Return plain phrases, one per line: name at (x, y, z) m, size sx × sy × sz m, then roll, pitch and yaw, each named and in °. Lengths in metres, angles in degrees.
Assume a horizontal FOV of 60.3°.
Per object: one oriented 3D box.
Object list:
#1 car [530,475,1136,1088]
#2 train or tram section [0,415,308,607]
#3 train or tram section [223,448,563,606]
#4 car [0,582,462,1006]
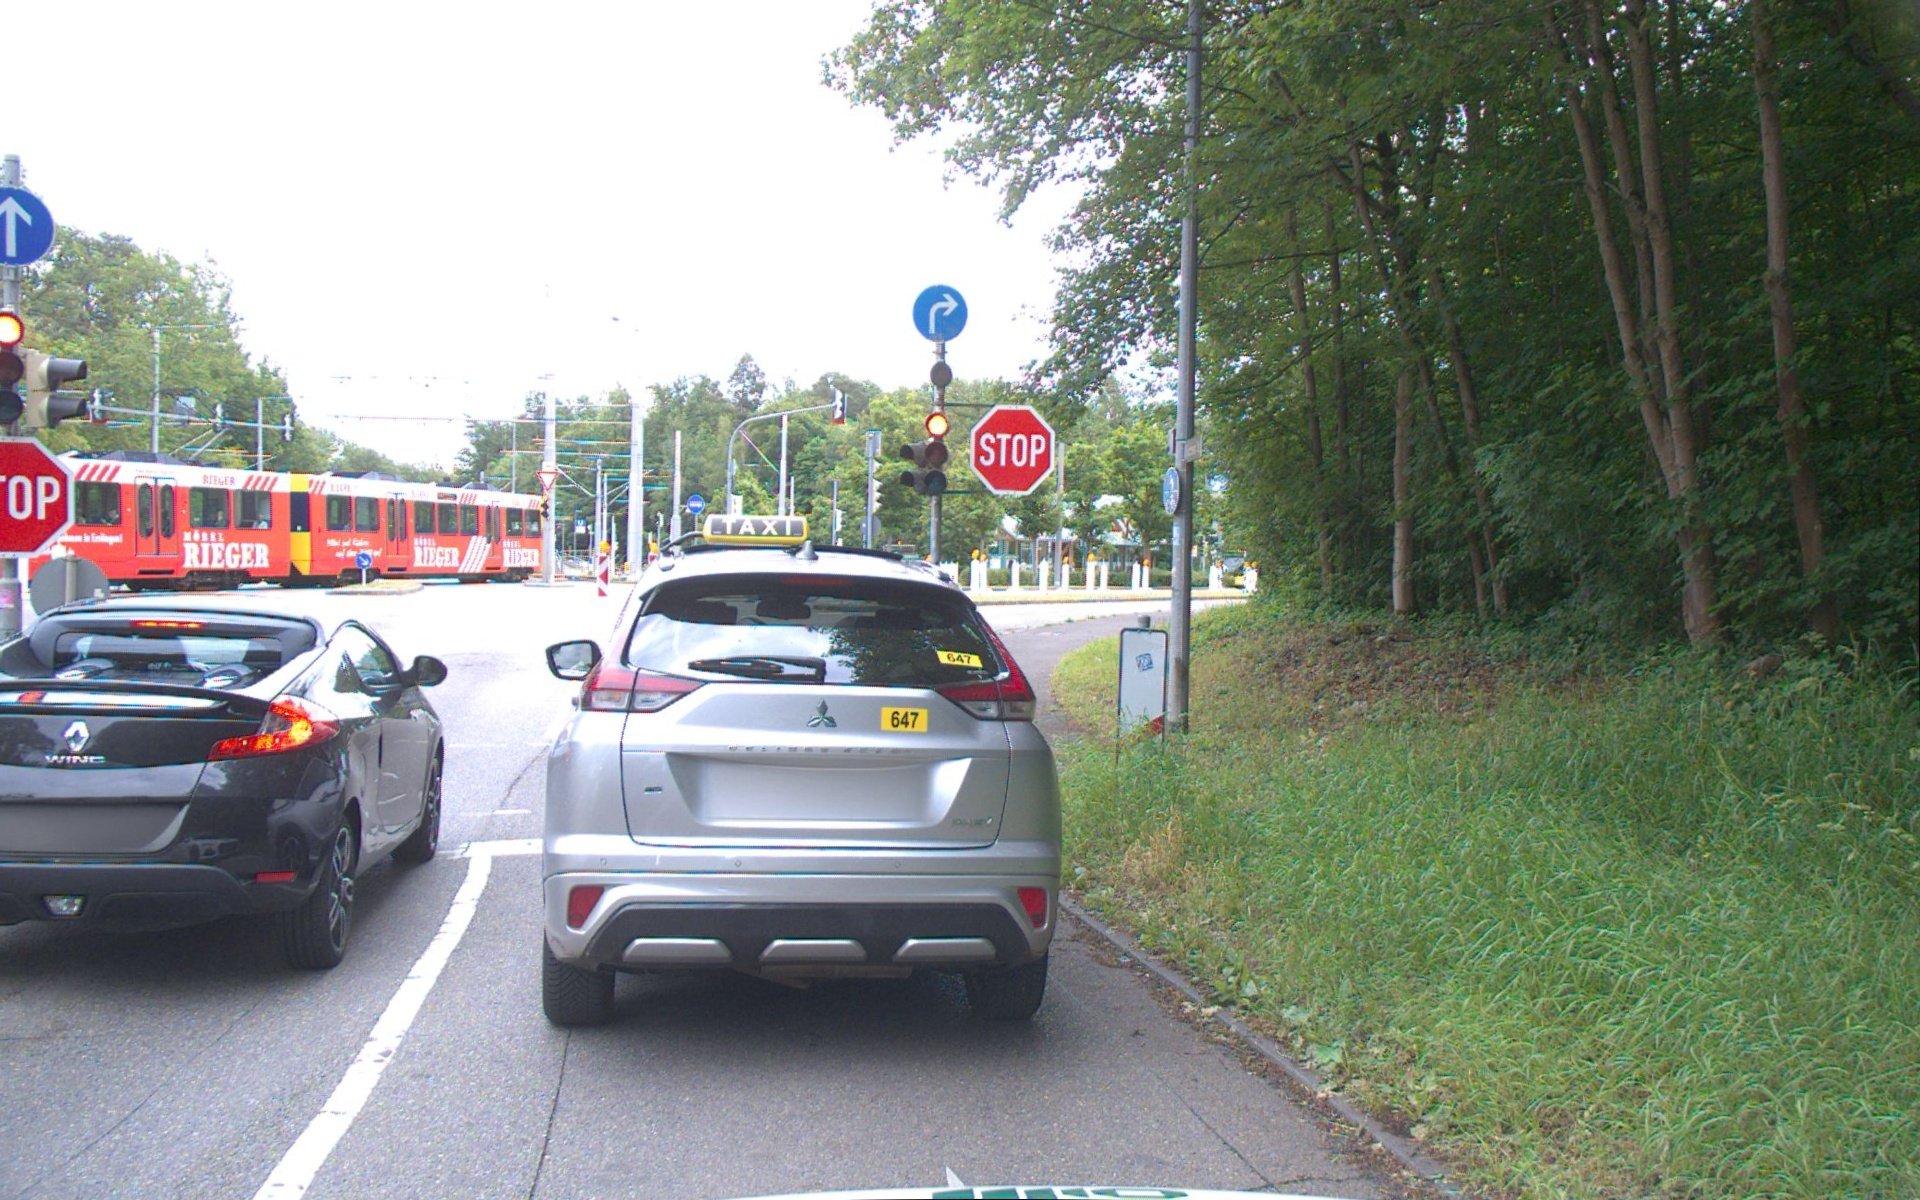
car at (-0.644, 0.523, 6.803) m, size 1.741 × 1.778 × 3.773 m, roll 2°, pitch 1°, yaw -9°
train or tram section at (-23.827, -2.153, 41.002) m, size 2.894 × 4.496 × 18.737 m, roll 1°, pitch 0°, yaw 18°
train or tram section at (-19.485, -2.186, 59.473) m, size 2.884 × 4.732 × 18.561 m, roll 1°, pitch 0°, yaw 10°
car at (-3.297, 0.633, 7.307) m, size 1.742 × 1.385 × 3.467 m, roll 0°, pitch 1°, yaw -11°
